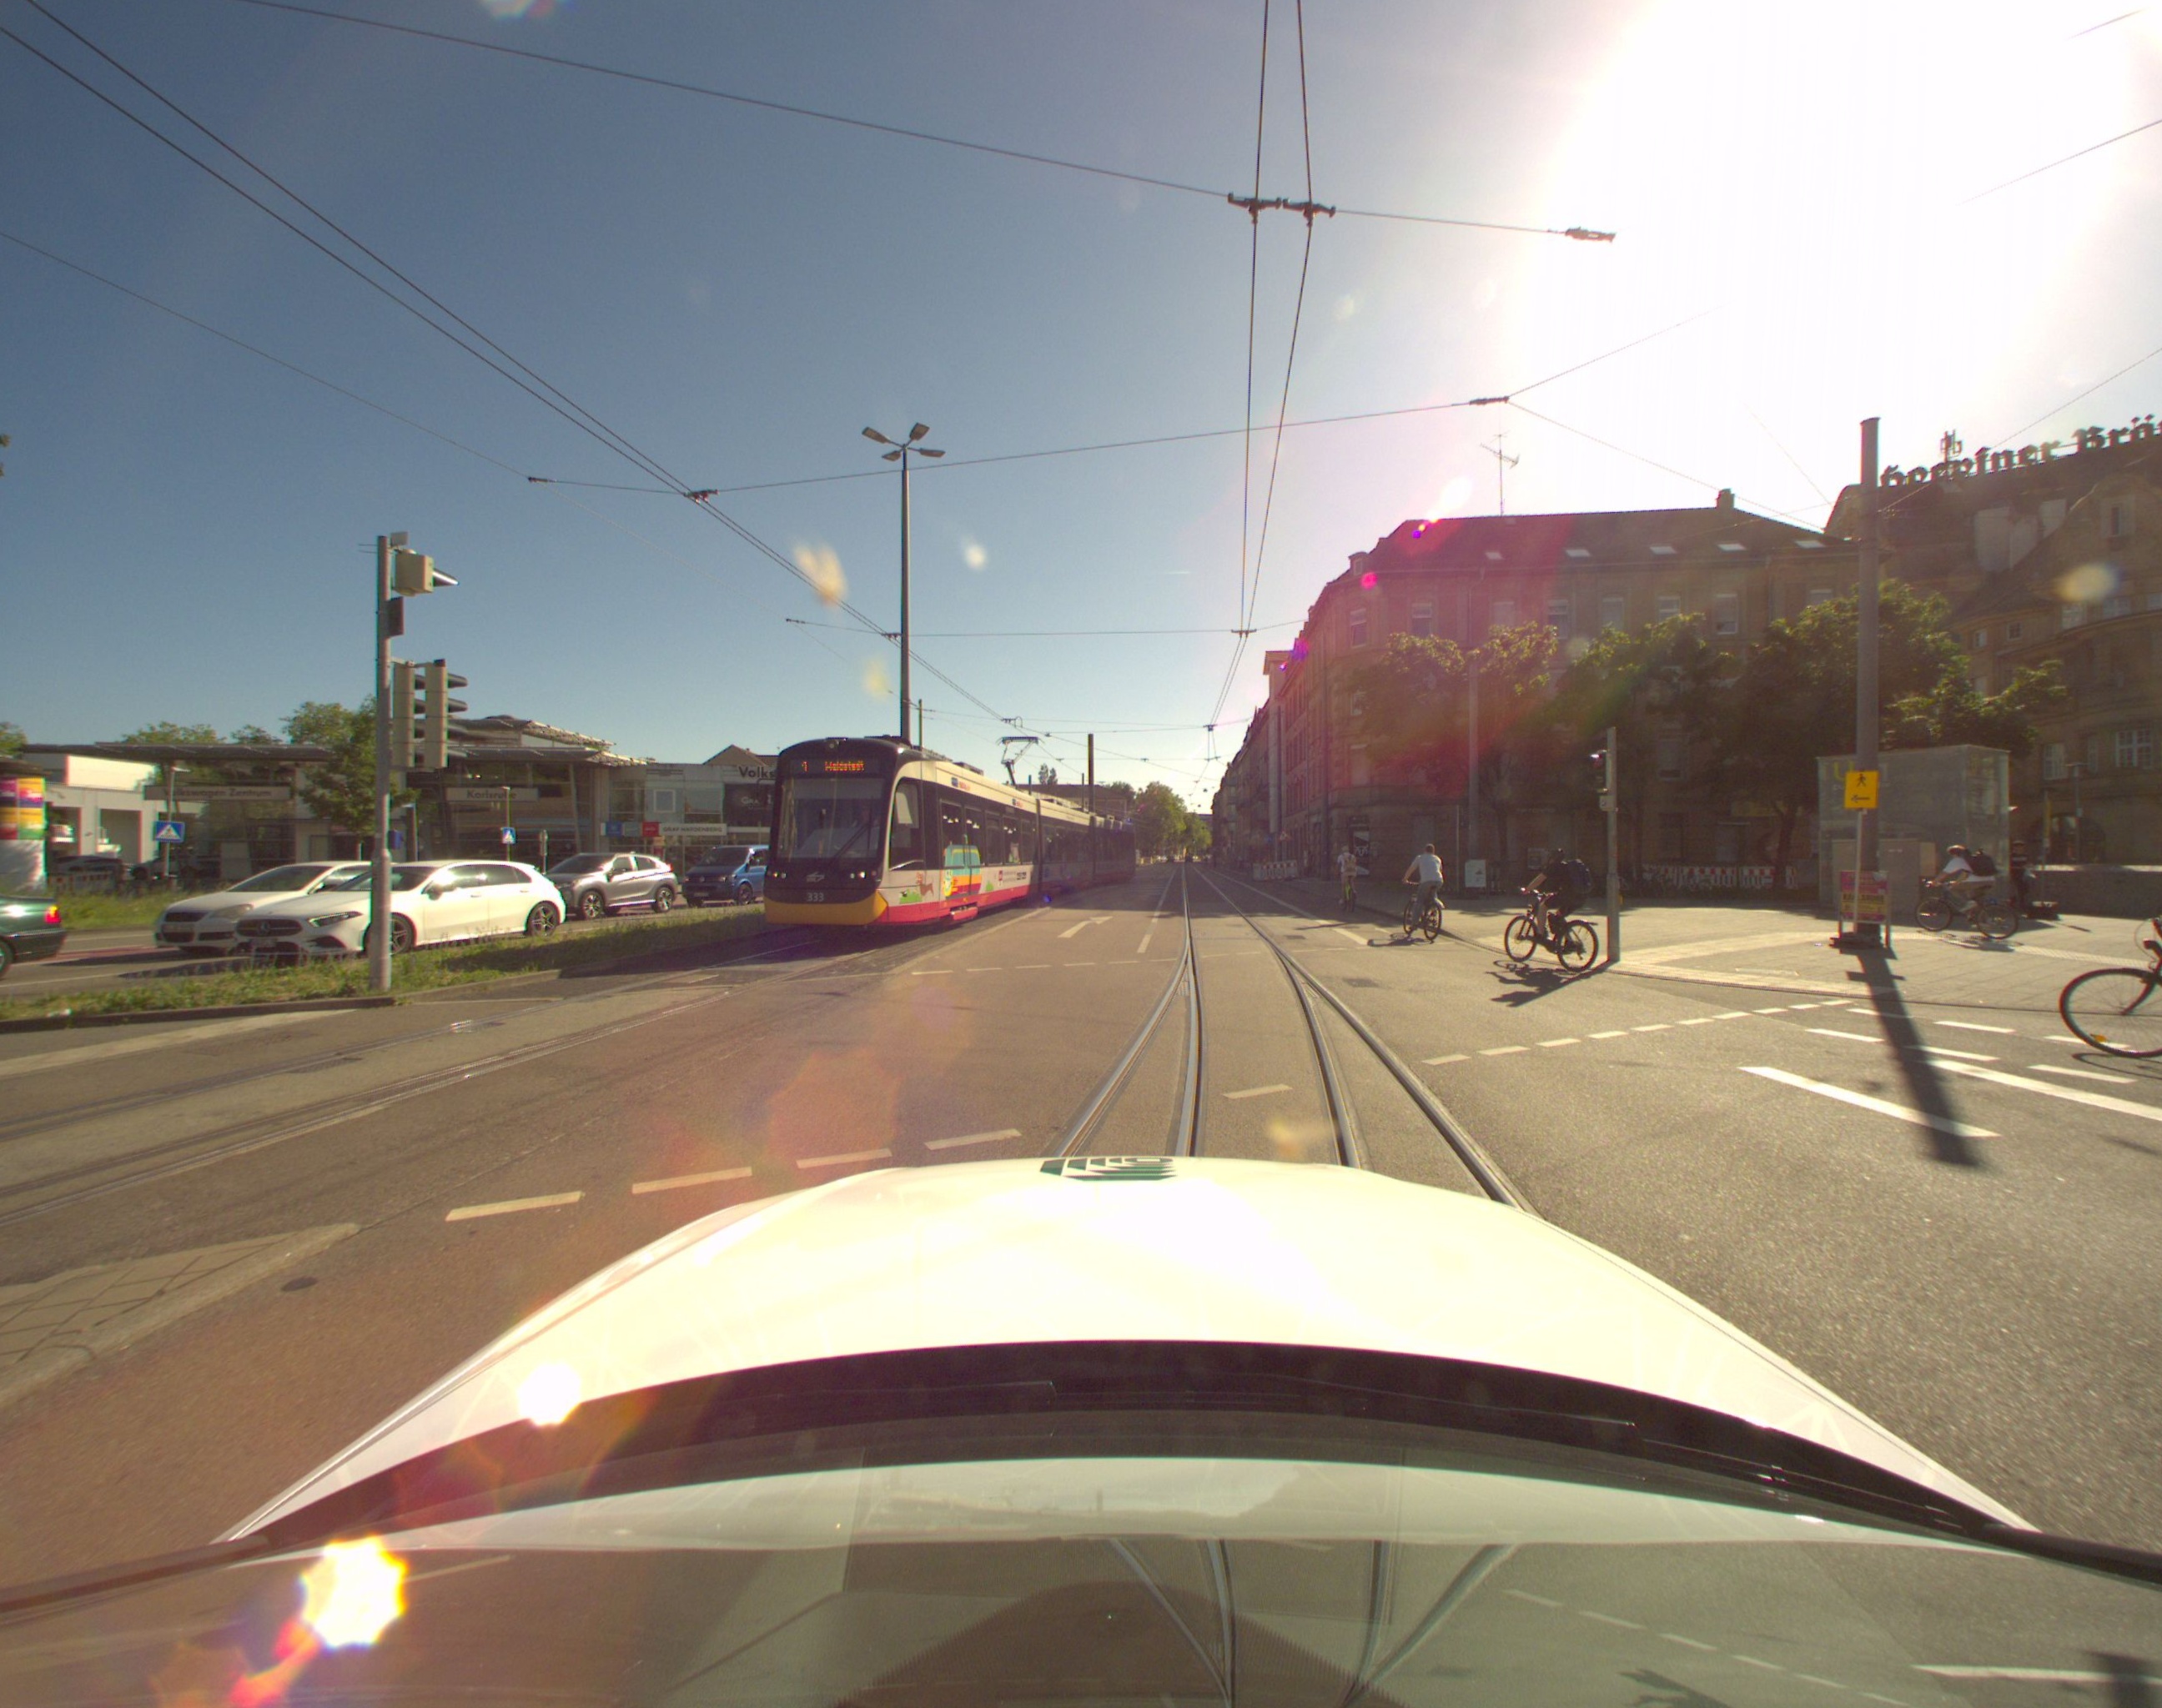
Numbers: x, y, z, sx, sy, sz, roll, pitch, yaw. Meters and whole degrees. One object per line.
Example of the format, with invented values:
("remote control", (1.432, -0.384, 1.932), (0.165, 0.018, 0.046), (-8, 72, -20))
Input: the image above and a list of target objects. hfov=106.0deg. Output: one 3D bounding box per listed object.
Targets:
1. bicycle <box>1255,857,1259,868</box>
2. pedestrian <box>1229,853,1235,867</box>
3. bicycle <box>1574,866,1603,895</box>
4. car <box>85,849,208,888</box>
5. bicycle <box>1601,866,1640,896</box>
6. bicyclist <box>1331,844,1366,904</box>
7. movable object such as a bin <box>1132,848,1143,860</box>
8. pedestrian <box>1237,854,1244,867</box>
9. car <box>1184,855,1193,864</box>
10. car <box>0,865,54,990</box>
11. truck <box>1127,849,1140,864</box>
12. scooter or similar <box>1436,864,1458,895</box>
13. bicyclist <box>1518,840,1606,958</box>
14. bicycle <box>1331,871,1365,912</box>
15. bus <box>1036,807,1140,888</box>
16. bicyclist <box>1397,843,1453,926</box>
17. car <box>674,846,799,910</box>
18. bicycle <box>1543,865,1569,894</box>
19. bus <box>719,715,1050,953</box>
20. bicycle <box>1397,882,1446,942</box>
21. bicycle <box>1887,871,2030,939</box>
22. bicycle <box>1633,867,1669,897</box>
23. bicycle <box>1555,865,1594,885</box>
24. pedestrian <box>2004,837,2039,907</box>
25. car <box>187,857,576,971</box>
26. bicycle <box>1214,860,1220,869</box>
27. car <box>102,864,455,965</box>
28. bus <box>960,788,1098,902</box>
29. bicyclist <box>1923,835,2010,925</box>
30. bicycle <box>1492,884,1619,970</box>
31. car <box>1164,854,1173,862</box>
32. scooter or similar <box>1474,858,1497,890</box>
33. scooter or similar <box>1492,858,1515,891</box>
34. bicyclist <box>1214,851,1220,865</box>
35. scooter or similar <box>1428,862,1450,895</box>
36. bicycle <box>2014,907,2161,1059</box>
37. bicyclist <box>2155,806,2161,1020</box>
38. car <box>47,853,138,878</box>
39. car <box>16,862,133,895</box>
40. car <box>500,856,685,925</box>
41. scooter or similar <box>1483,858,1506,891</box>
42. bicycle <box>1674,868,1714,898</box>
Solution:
("bicycle", (18.444, 0.871, 85.420), (0.407, 1.121, 1.903), (-2, -1, 11))
("pedestrian", (18.458, 0.715, 99.458), (0.549, 1.701, 0.475), (-2, -1, 14))
("bicycle", (18.973, 0.983, 30.483), (0.401, 1.061, 1.355), (1, -1, 8))
("car", (-51.639, 0.795, 45.095), (3.991, 2.014, 1.991), (2, -1, -13))
("bicycle", (20.059, 0.986, 30.314), (0.403, 1.061, 1.348), (1, -1, -8))
("bicyclist", (7.634, 0.563, 23.302), (0.678, 1.683, 1.121), (1, -1, 4))
("movable object such as a bin", (13.143, -0.087, 188.766), (2.484, 2.645, 5.996), (1, 0, 4))
("pedestrian", (19.339, 0.753, 98.782), (0.793, 1.605, 0.654), (0, -1, 9))
("car", (24.683, 1.230, 187.028), (1.983, 2.014, 4.008), (1, 0, 8))
("car", (-13.893, 0.895, 8.274), (1.640, 1.479, 3.979), (-2, 0, 8))
("truck", (10.173, 0.444, 157.784), (2.527, 2.830, 6.382), (1, 0, 3))
("scooter or similar", (13.950, 0.955, 31.081), (0.268, 1.157, 1.707), (1, -1, 8))
("bicyclist", (6.900, 0.621, 11.726), (0.622, 1.613, 0.979), (1, -1, -5))
("bicycle", (7.627, 1.048, 23.357), (0.529, 1.117, 1.937), (2, -1, 6))
("bus", (0.703, -0.305, 41.906), (2.821, 3.589, 11.313), (0, 0, 14))
("bicyclist", (6.781, 0.586, 16.081), (0.778, 1.593, 0.887), (0, 0, 6))
("car", (-11.129, 0.748, 26.676), (1.792, 1.933, 4.176), (-1, -1, 9))
("bicycle", (17.788, 0.945, 30.545), (0.400, 1.061, 1.487), (1, -1, 12))
("bus", (-3.283, -0.306, 19.130), (2.825, 3.589, 13.524), (0, 0, 8))
("bicycle", (6.738, 1.115, 16.167), (0.384, 1.069, 1.937), (1, 0, 7))
("bicycle", (16.561, 0.931, 15.448), (0.530, 1.117, 1.932), (1, 2, -3))
("bicycle", (21.469, 1.034, 30.681), (0.401, 1.061, 1.463), (1, -1, 3))
("bicycle", (22.121, 0.950, 36.515), (1.408, 0.856, 0.406), (1, -1, 14))
("pedestrian", (25.080, 0.476, 21.714), (0.652, 1.849, 0.541), (2, -1, -35))
("car", (-10.533, 0.800, 12.855), (1.793, 1.432, 4.550), (1, 0, 8))
("bicycle", (17.410, 1.325, 104.341), (0.677, 1.114, 2.712), (1, 0, 7))
("car", (-13.393, 0.912, 14.007), (1.793, 1.432, 4.009), (1, 0, 8))
("bus", (-1.569, -0.289, 31.091), (2.824, 3.589, 10.755), (0, 0, 10))
("bicyclist", (16.530, 0.478, 15.225), (0.596, 1.613, 0.952), (1, -1, -2))
("bicycle", (6.858, 1.015, 11.898), (0.531, 1.117, 1.929), (0, -1, -7))
("car", (19.665, 0.918, 183.588), (1.749, 1.697, 4.153), (1, 0, 8))
("scooter or similar", (15.219, 0.747, 30.668), (0.268, 1.185, 1.568), (1, -1, 8))
("scooter or similar", (15.860, 0.747, 30.595), (0.268, 1.196, 1.568), (1, -1, 8))
("bicyclist", (17.382, 0.537, 104.392), (0.663, 1.697, 1.045), (1, -1, 7))
("scooter or similar", (13.655, 0.914, 31.085), (0.268, 1.219, 1.707), (1, -1, 8))
("bicycle", (8.453, 0.989, 6.063), (0.533, 1.118, 1.922), (1, -2, -17))
("bicyclist", (8.536, 0.451, 5.798), (0.551, 1.613, 0.948), (2, -1, -16))
("car", (-75.207, 0.896, 62.052), (1.988, 1.798, 3.998), (1, 0, -1))
("car", (-57.984, 1.397, 46.965), (3.979, 1.757, 1.997), (1, -1, -4))
("car", (-12.268, 0.867, 20.822), (1.793, 1.578, 4.174), (-1, -1, 8))
("scooter or similar", (15.533, 0.754, 30.641), (0.268, 1.185, 1.568), (1, -1, 8))
("bicycle", (22.617, 1.043, 30.070), (0.402, 1.061, 1.462), (1, -1, 1))
